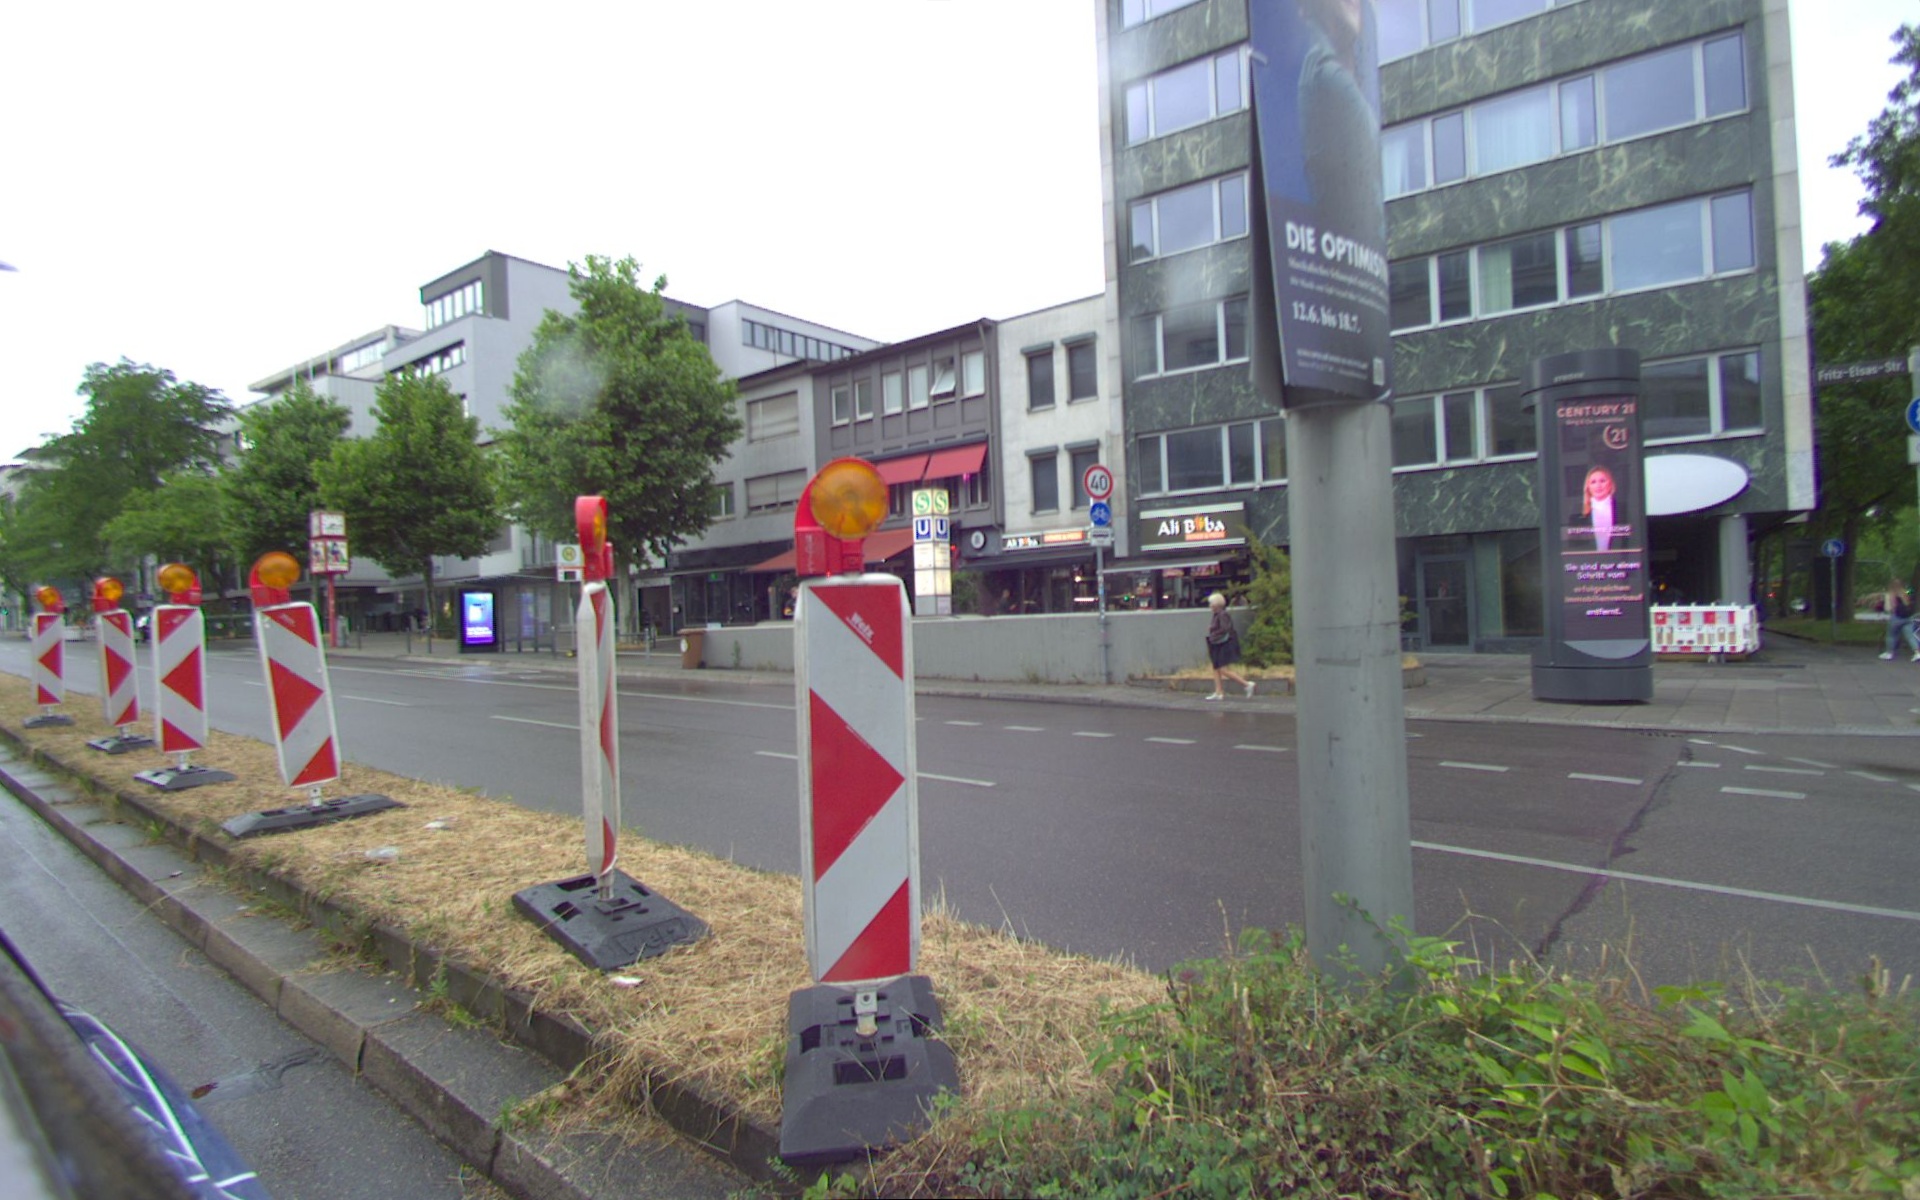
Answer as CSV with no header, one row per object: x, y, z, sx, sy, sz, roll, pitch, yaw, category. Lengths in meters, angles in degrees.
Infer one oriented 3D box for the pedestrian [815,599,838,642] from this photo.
-4.932,0.745,37.291,0.603,1.582,0.591,-1,-1,31,pedestrian

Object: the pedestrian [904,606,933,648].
-1.359,0.877,32.868,0.690,1.354,0.627,-2,-1,34,pedestrian

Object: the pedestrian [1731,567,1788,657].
17.030,0.258,21.588,0.875,1.868,1.012,-2,-1,37,pedestrian

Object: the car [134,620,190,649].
-48.087,2.105,60.937,4.019,1.648,1.761,-2,-1,38,car

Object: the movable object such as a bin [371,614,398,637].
-37.951,1.684,66.740,1.278,1.446,1.077,-1,-1,32,movable object such as a bin

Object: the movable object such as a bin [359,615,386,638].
-39.237,1.767,67.596,1.278,1.446,1.077,-1,-1,32,movable object such as a bin

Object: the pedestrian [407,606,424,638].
-30.565,1.237,56.828,0.653,1.776,0.688,-1,-1,43,pedestrian

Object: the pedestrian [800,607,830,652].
-4.816,0.979,33.569,0.706,1.461,0.683,-2,-1,37,pedestrian

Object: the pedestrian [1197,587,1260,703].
3.987,0.654,15.018,0.754,1.665,0.685,-1,-1,27,pedestrian

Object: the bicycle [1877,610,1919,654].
20.856,0.688,21.621,0.468,0.941,1.803,0,-1,-39,bicycle

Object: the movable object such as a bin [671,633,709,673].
-6.279,1.228,23.537,0.680,0.904,0.527,-1,-2,32,movable object such as a bin

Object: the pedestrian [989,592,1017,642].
1.288,0.495,30.150,0.587,1.461,0.597,-2,-1,36,pedestrian

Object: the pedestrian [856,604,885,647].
-3.038,0.863,34.347,0.690,1.461,0.720,-2,-1,34,pedestrian

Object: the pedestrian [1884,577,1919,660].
18.875,0.376,19.937,0.922,1.597,0.822,-2,-5,41,pedestrian

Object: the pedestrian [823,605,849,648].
-4.346,0.928,35.412,0.546,1.461,0.683,-2,-1,37,pedestrian

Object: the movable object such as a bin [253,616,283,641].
-42.492,1.747,62.138,1.088,1.437,1.265,-2,-1,41,movable object such as a bin

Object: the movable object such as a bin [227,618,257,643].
-43.329,1.828,61.095,1.088,1.437,1.265,-2,-1,41,movable object such as a bin

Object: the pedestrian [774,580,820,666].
-3.679,0.514,22.857,0.757,1.899,0.683,-2,-1,37,pedestrian

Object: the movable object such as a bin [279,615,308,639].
-41.601,1.672,63.192,1.088,1.499,1.265,-2,-1,41,movable object such as a bin

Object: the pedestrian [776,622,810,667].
-5.637,1.490,34.181,0.912,1.461,0.683,-2,-1,37,pedestrian

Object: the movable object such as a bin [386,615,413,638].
-36.648,1.746,66.147,1.278,1.446,1.077,-1,-1,32,movable object such as a bin

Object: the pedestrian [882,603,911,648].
-2.104,0.839,33.320,0.690,1.461,0.627,-2,-1,34,pedestrian

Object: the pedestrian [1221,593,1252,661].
7.859,0.771,28.745,0.590,1.899,0.749,-2,-1,34,pedestrian

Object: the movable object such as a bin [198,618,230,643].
-44.241,1.822,60.003,1.088,1.437,1.345,-2,-1,41,movable object such as a bin
